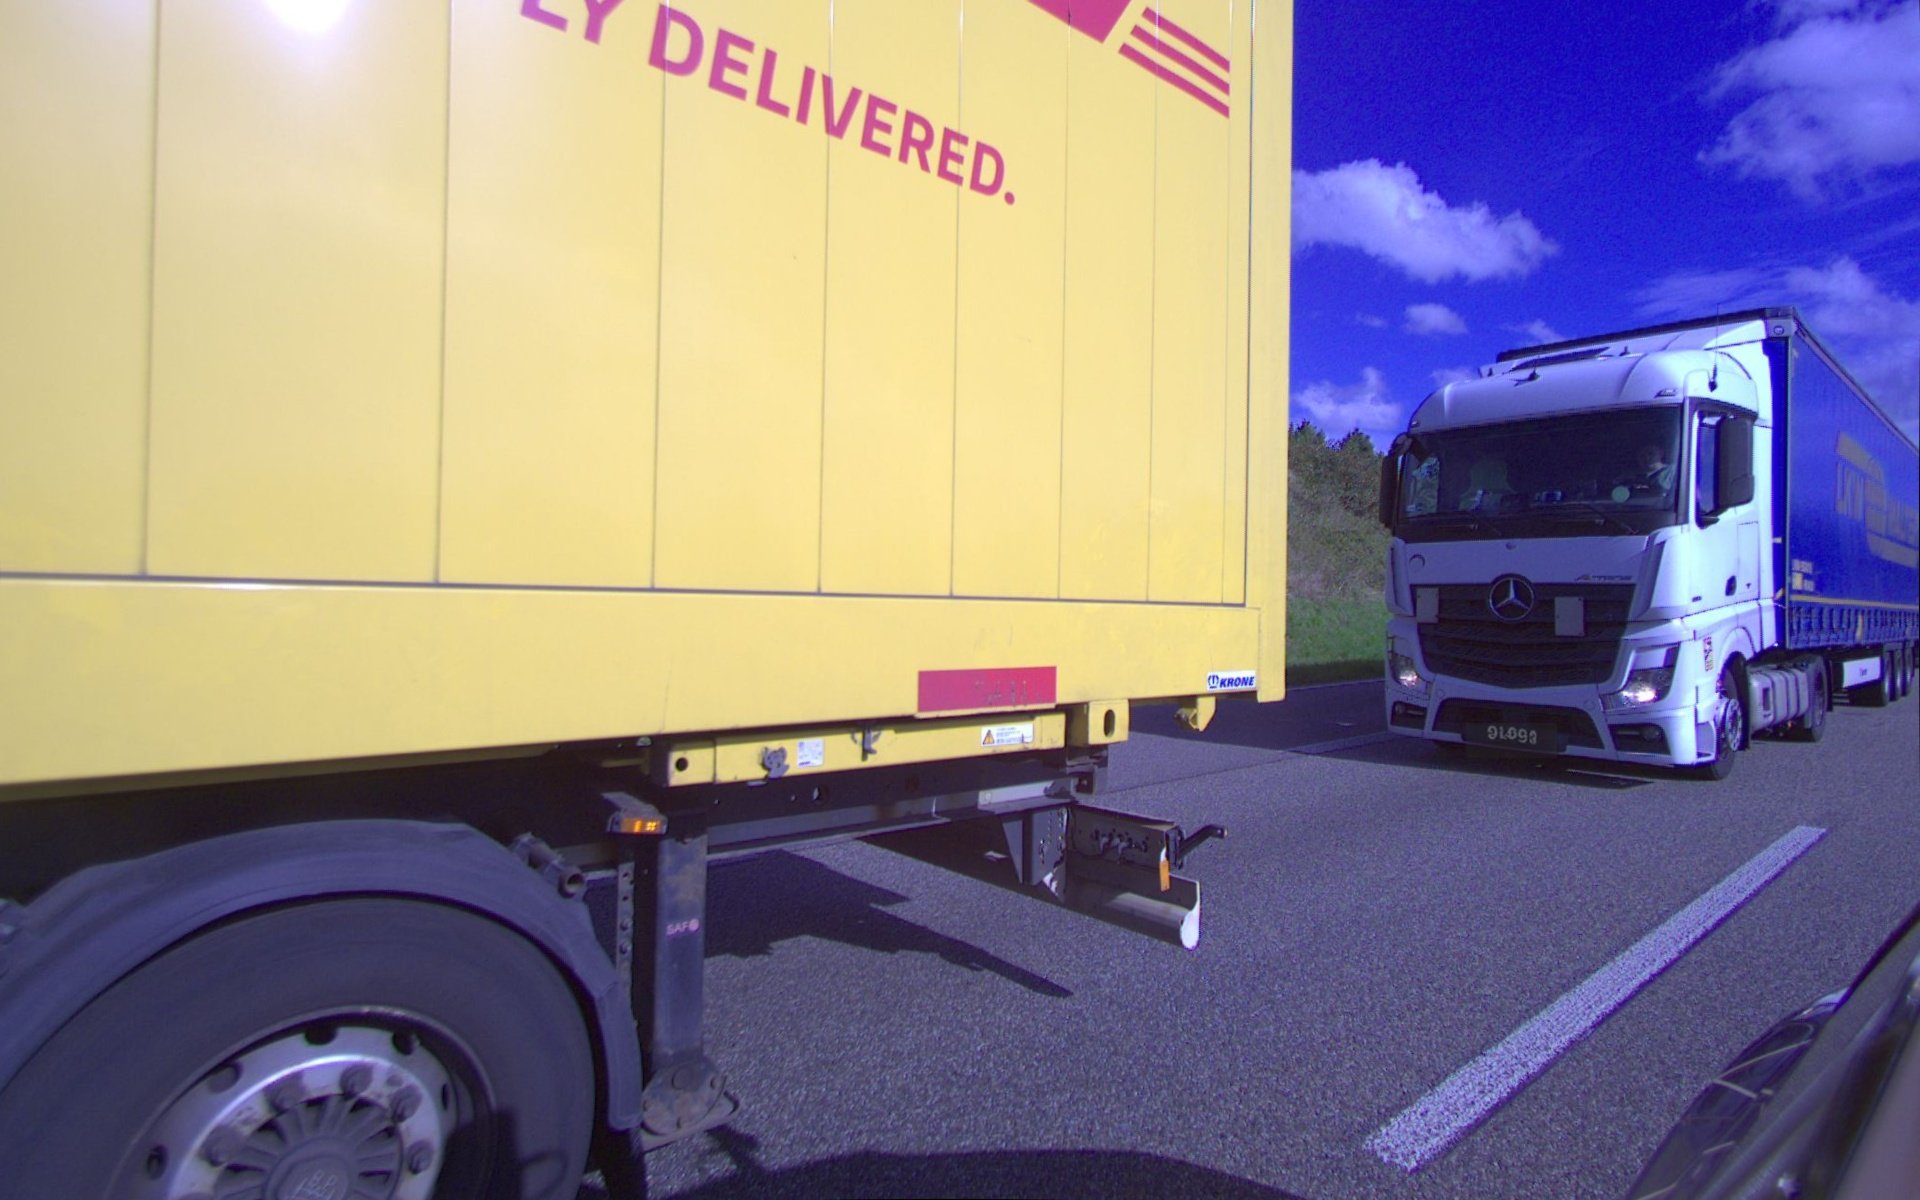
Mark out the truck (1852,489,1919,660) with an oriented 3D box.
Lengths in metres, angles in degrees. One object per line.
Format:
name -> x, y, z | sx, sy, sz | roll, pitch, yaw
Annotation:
truck -> 25.020, -0.595, 25.774 | 6.822, 3.975, 2.653 | 0, 0, -42

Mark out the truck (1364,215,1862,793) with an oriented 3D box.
truck -> 6.959, -0.712, 10.368 | 6.379, 4.141, 2.652 | 0, 0, -41

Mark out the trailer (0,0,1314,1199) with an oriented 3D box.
trailer -> -2.851, -0.714, 1.527 | 8.771, 4.120, 2.416 | 0, 0, -41

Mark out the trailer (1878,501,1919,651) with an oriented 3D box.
trailer -> 29.880, -0.600, 30.144 | 10.981, 3.985, 2.650 | 1, -1, -42

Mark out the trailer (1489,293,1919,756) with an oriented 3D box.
trailer -> 11.825, -0.724, 14.628 | 13.737, 4.149, 2.646 | 0, 0, -41
